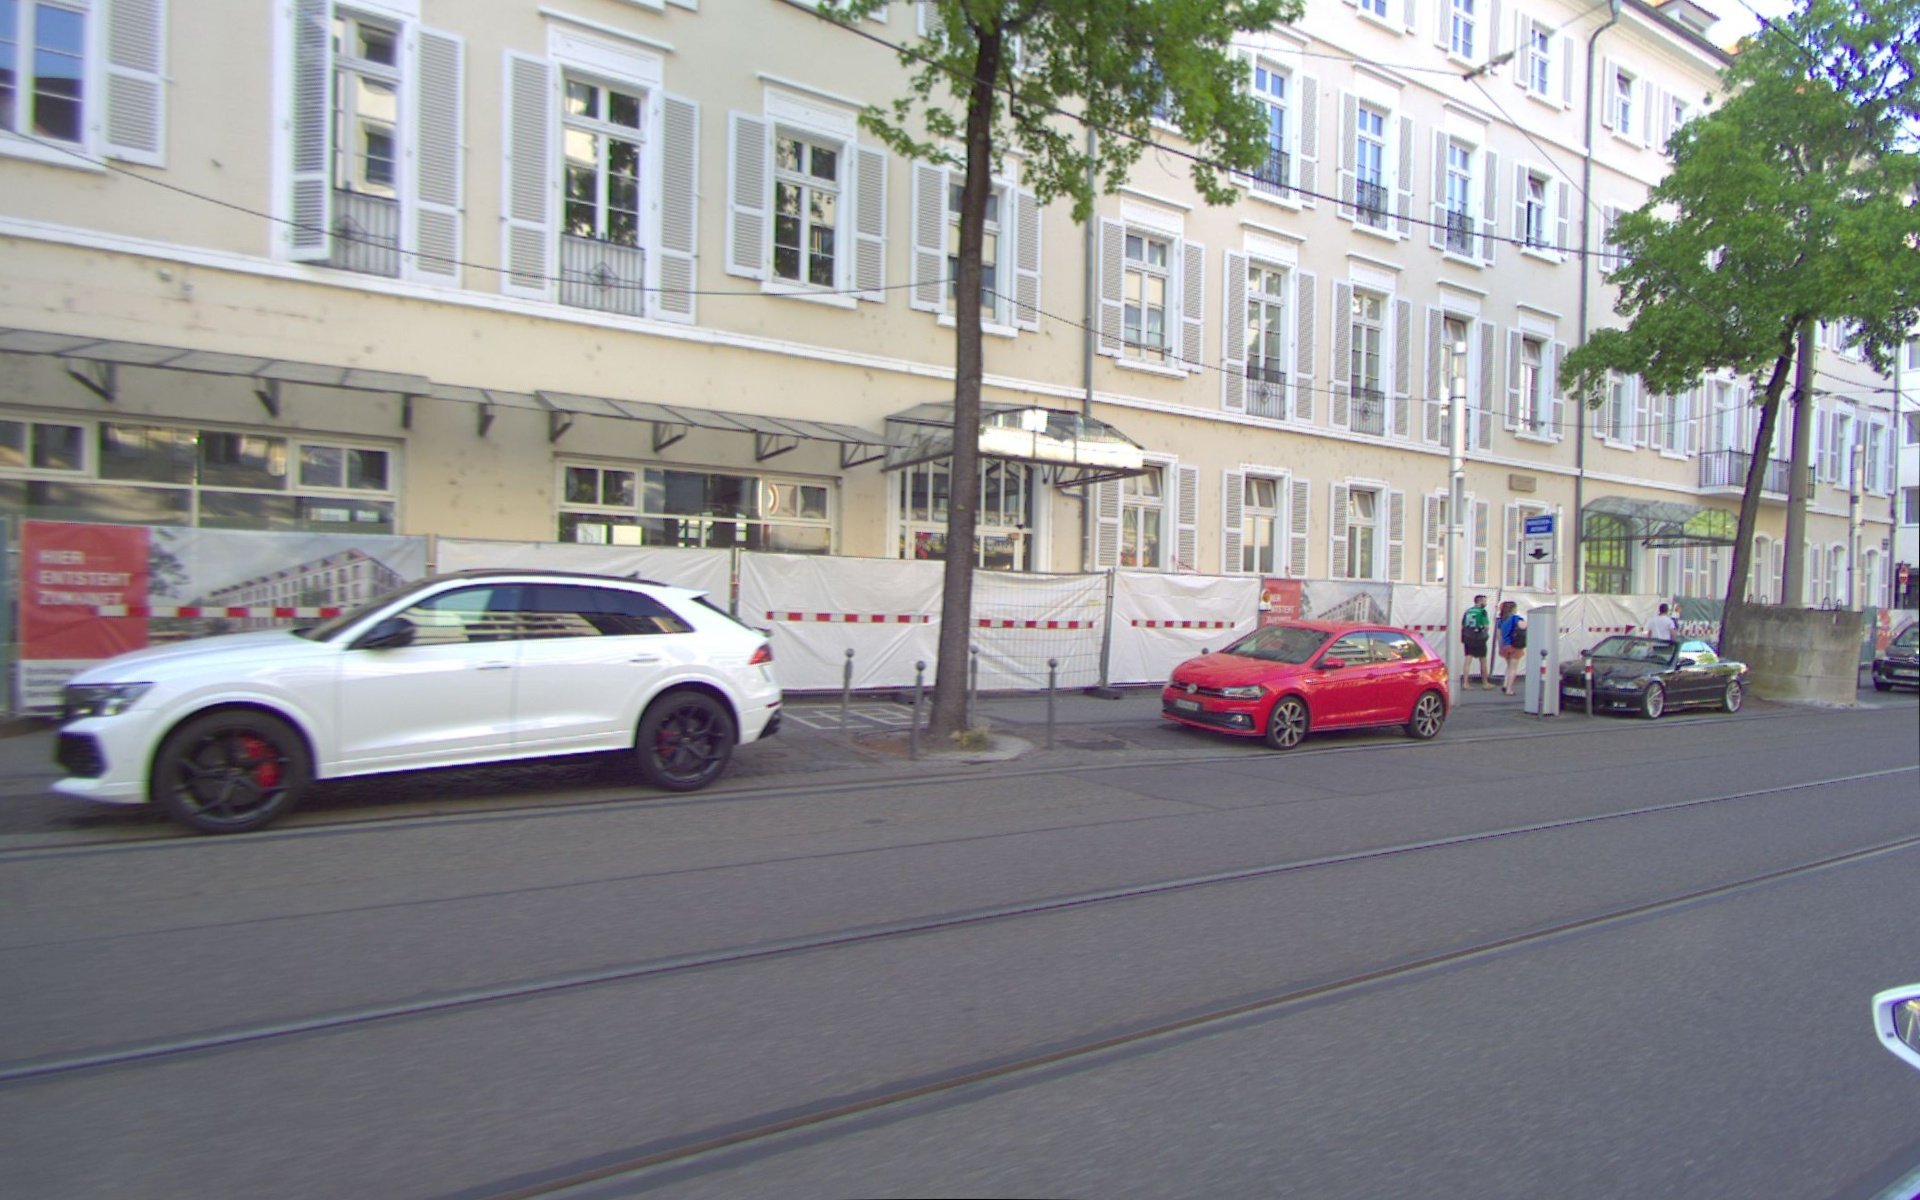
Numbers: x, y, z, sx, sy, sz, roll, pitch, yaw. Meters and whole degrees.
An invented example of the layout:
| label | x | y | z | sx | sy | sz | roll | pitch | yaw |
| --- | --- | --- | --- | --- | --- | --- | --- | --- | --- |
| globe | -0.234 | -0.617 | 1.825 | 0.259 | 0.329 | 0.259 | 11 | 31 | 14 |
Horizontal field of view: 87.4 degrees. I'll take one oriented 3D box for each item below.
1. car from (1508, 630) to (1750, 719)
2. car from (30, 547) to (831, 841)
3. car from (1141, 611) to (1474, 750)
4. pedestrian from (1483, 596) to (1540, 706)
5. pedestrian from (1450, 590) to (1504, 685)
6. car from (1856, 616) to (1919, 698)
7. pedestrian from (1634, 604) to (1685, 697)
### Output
| label | x | y | z | sx | sy | sz | roll | pitch | yaw |
| --- | --- | --- | --- | --- | --- | --- | --- | --- | --- |
| car | 11.672 | 1.231 | 17.506 | 3.953 | 1.309 | 1.984 | 1 | 0 | -30 |
| car | -3.704 | 0.601 | 7.928 | 4.952 | 1.714 | 1.953 | 2 | 0 | -29 |
| car | 4.523 | 0.958 | 12.939 | 4.182 | 1.519 | 1.681 | 2 | 0 | -29 |
| pedestrian | 10.419 | 0.941 | 18.990 | 0.668 | 2.031 | 0.703 | 1 | 0 | -33 |
| pedestrian | 10.156 | 0.726 | 19.735 | 0.669 | 1.830 | 0.703 | 1 | 0 | -35 |
| car | 22.992 | 1.322 | 23.682 | 3.120 | 1.820 | 1.550 | 1 | 0 | -22 |
| pedestrian | 15.535 | 1.104 | 22.309 | 0.668 | 2.031 | 0.703 | 1 | 0 | -33 |
